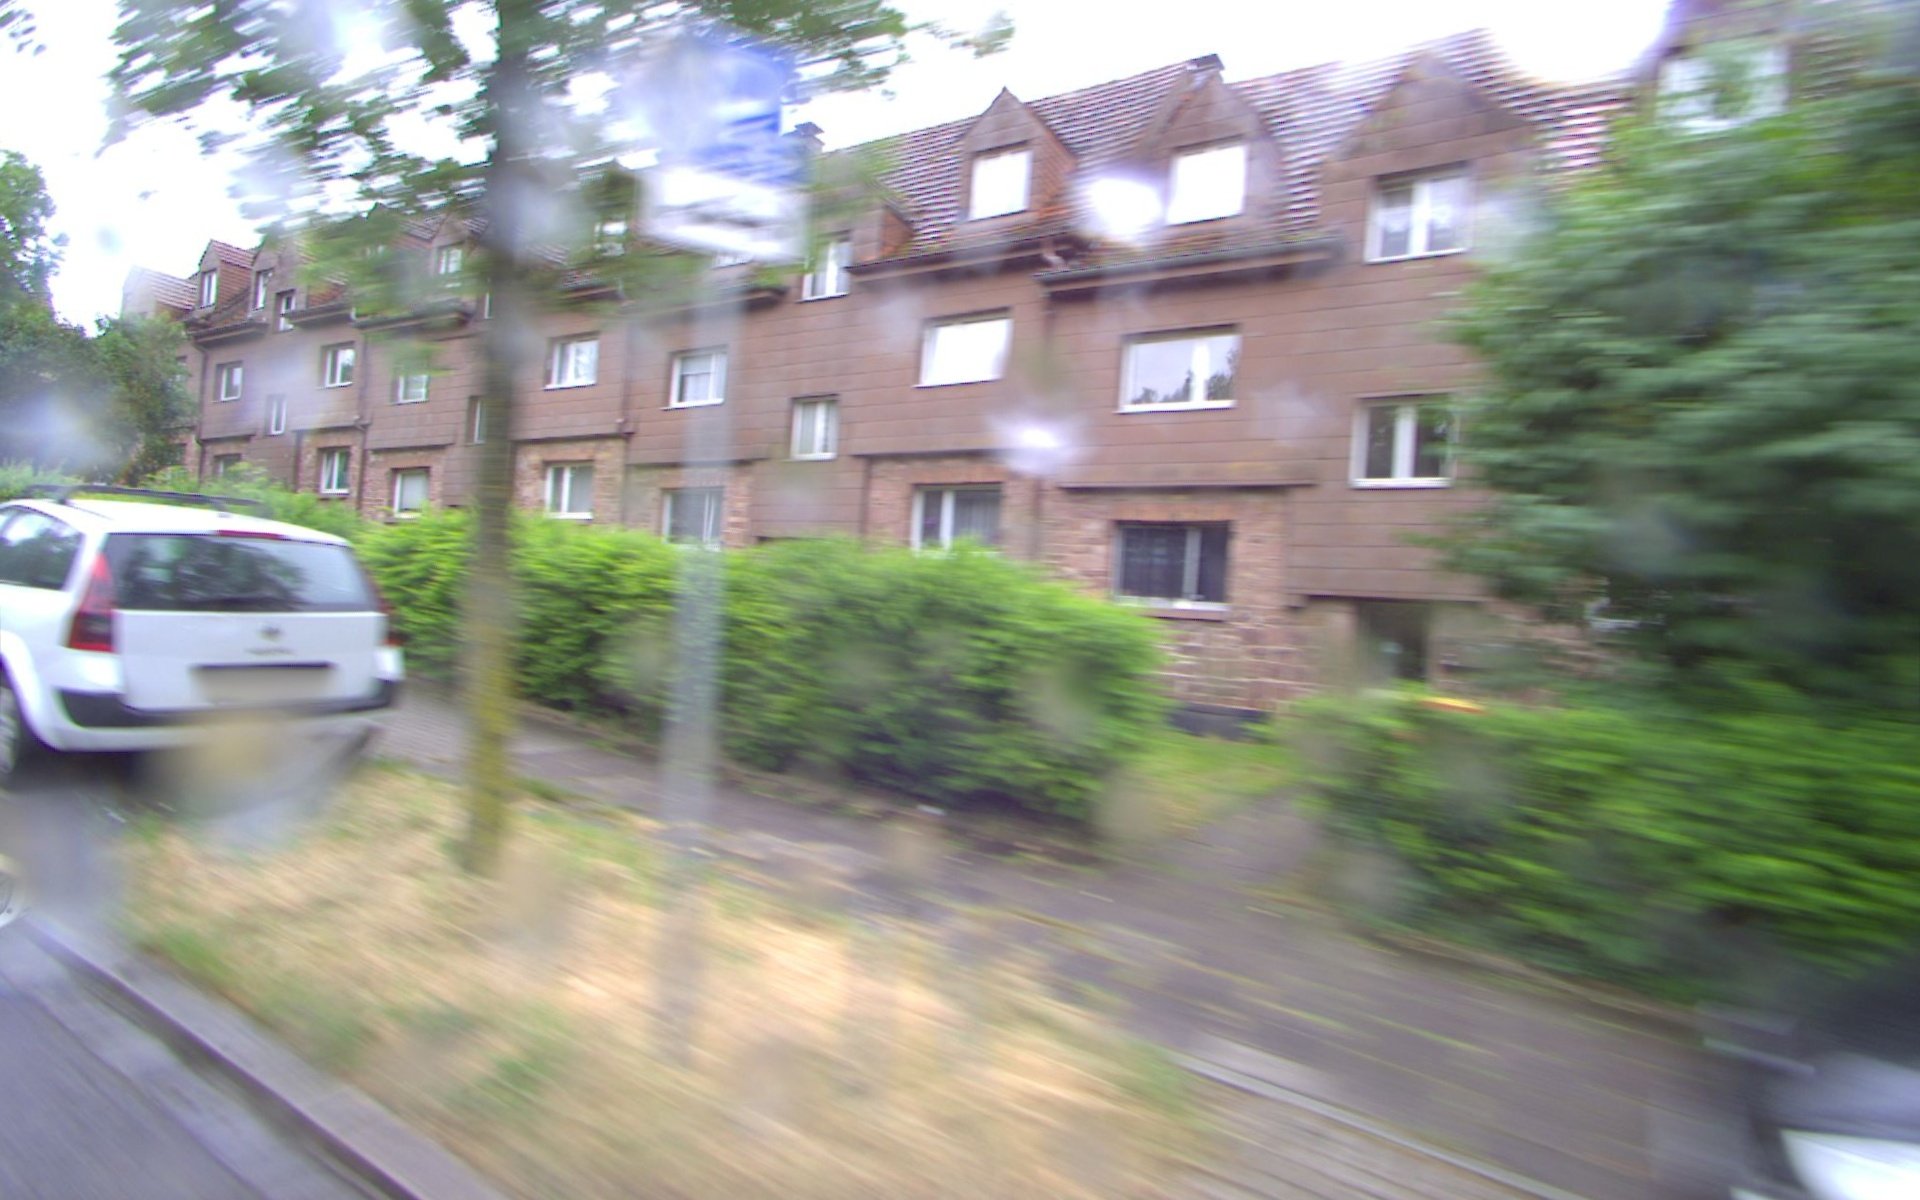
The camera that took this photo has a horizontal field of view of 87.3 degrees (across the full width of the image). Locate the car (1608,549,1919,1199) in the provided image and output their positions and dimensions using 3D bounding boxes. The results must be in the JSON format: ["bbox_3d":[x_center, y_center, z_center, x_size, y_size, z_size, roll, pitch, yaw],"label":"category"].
[{"bbox_3d":[3.488,1.037,1.057,4.508,1.700,1.825,7,2,32],"label":"car"}]

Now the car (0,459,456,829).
[{"bbox_3d":[-5.324,0.036,6.441,4.403,1.624,1.823,7,2,35],"label":"car"}]
